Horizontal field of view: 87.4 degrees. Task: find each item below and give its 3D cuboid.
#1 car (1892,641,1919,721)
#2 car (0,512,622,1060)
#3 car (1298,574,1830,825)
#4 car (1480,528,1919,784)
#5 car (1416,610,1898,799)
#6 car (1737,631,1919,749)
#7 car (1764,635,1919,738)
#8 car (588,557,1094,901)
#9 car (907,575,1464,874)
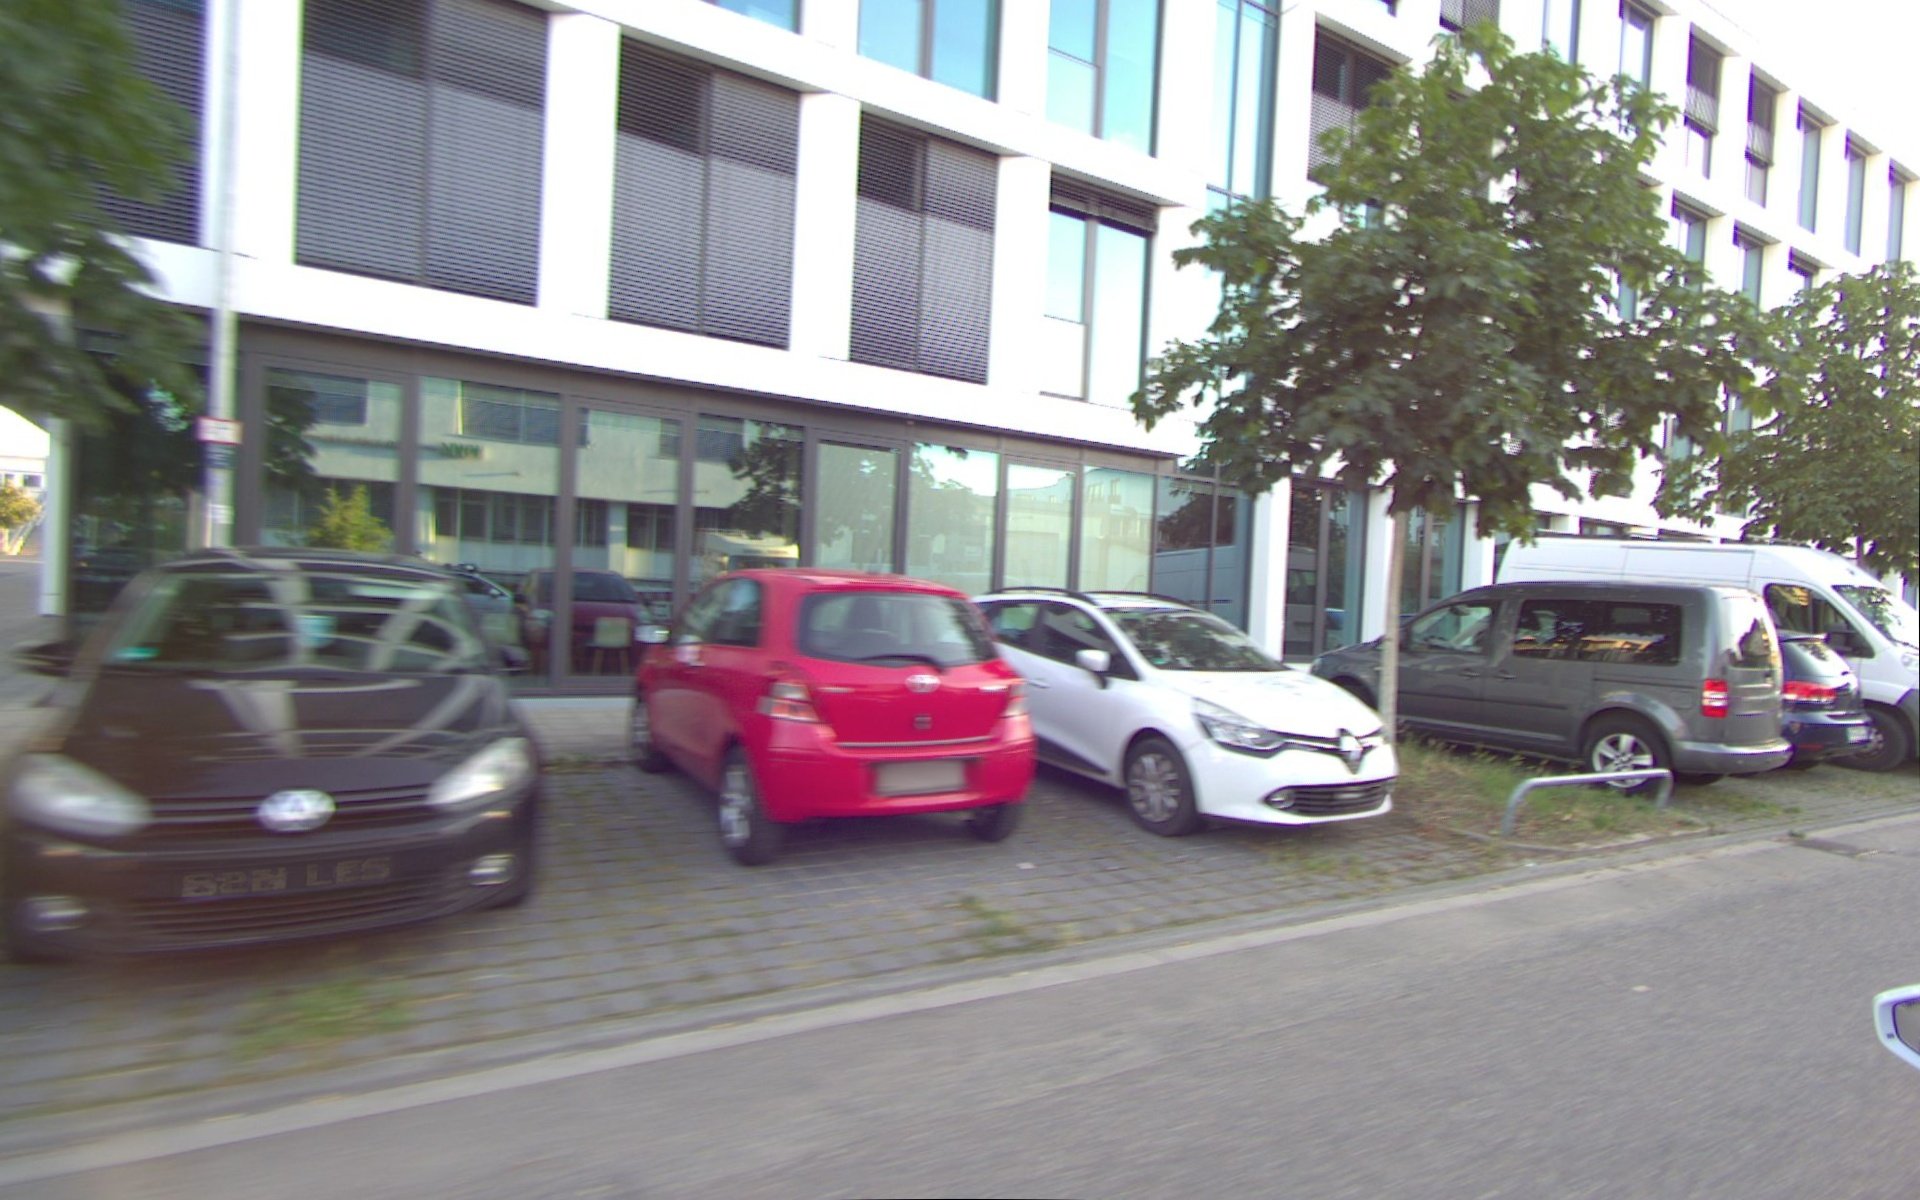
[{"bbox_3d":[20.339,1.693,18.896,1.675,1.543,3.759,2,1,-33],"label":"car"},{"bbox_3d":[-3.125,0.461,4.941,1.825,1.539,4.084,2,1,-32],"label":"car"},{"bbox_3d":[5.661,0.754,9.936,1.798,1.841,4.081,2,1,-35],"label":"car"},{"bbox_3d":[9.875,0.525,12.886,2.054,2.668,5.355,2,1,-30],"label":"car"},{"bbox_3d":[7.597,0.998,11.352,1.757,1.519,4.081,2,1,-35],"label":"car"},{"bbox_3d":[14.082,1.359,14.861,1.688,1.515,3.688,2,1,-31],"label":"car"},{"bbox_3d":[16.213,1.492,16.507,1.773,1.515,4.288,2,1,-29],"label":"car"},{"bbox_3d":[-1.124,0.541,6.773,1.824,1.539,4.086,2,1,-31],"label":"car"},{"bbox_3d":[1.356,0.661,7.654,1.760,1.539,4.086,2,1,-31],"label":"car"}]
